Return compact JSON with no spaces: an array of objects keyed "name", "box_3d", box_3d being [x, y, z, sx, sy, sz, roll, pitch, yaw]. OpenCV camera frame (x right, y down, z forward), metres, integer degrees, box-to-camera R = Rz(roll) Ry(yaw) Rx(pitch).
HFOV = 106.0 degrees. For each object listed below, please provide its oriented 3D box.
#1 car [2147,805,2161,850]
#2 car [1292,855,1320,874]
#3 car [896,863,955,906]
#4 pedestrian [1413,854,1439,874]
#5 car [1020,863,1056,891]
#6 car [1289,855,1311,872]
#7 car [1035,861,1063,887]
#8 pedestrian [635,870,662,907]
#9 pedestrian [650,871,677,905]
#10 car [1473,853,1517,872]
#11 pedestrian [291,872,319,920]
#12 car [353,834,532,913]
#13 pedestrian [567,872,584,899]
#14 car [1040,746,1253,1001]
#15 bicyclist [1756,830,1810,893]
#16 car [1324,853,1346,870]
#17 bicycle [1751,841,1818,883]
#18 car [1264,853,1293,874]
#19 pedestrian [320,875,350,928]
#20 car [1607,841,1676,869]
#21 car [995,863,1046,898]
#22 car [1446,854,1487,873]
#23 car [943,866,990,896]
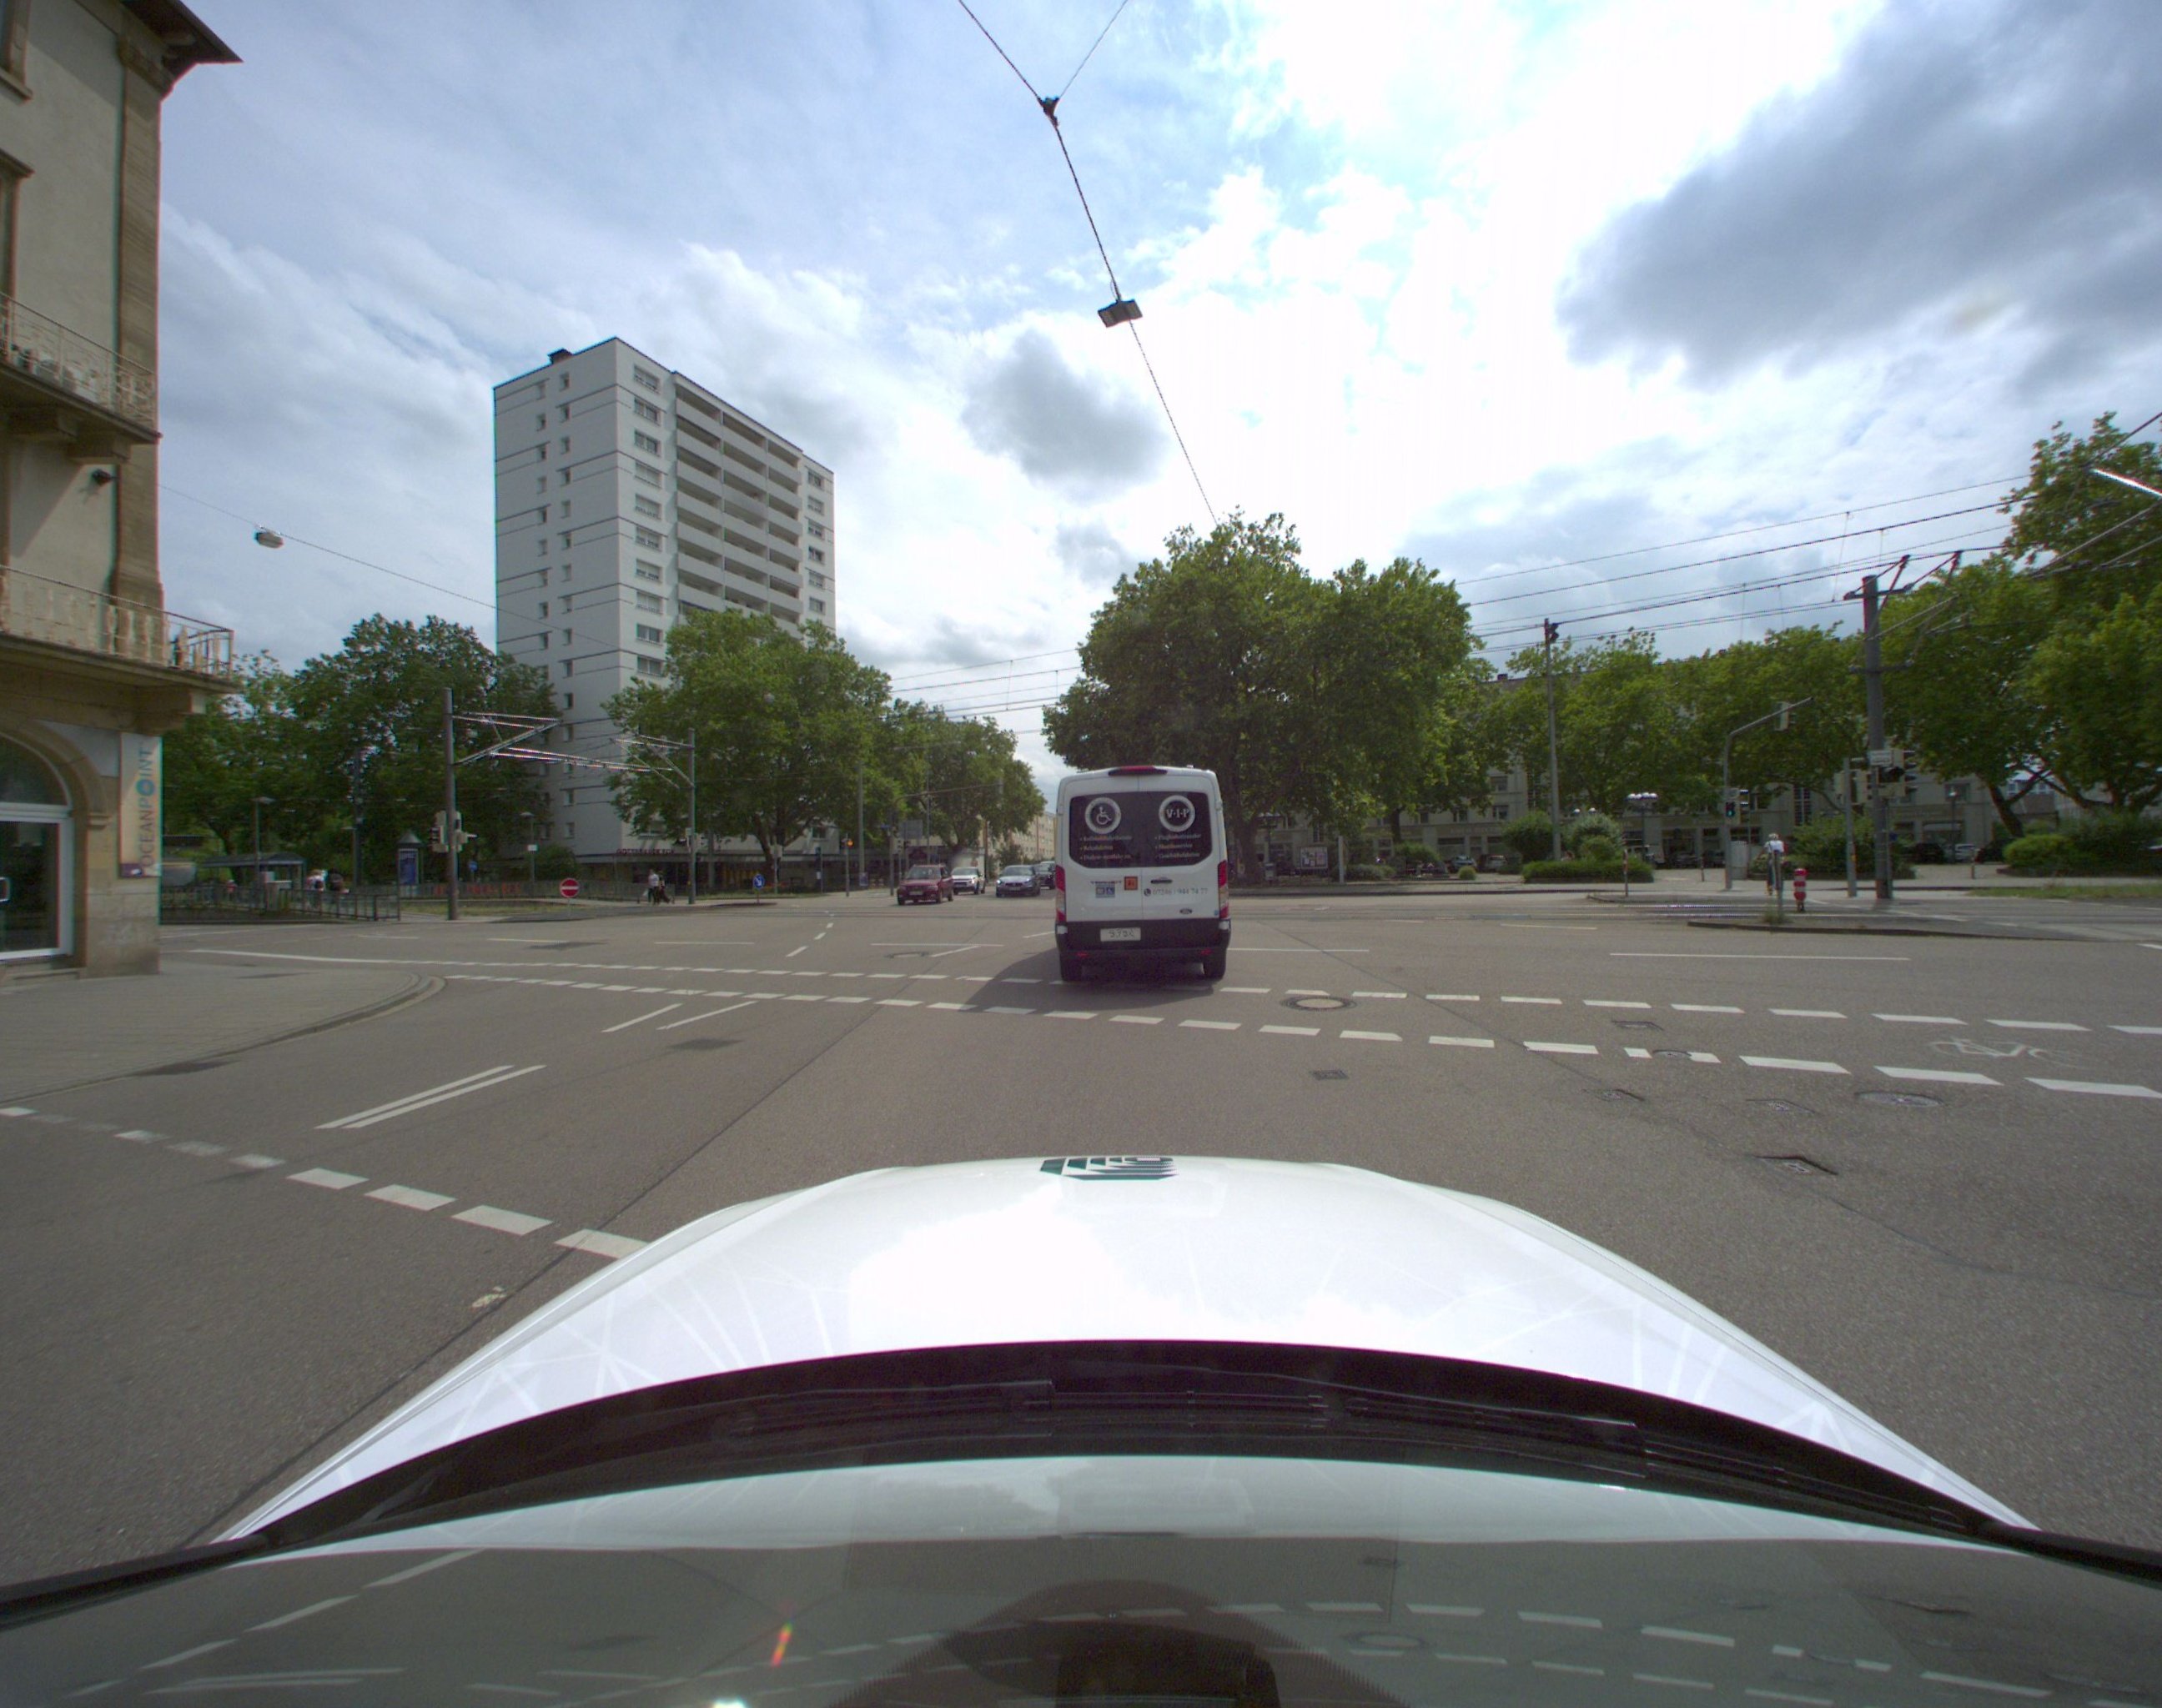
[{"name":"car","box_3d":[64.691,-1.643,45.686,5.272,2.585,2.512,-2,-2,22]},{"name":"car","box_3d":[21.182,0.988,76.694,1.796,1.684,4.005,-2,-1,5]},{"name":"car","box_3d":[-5.944,1.131,31.529,1.587,1.508,3.805,-2,-1,-1]},{"name":"pedestrian","box_3d":[22.454,0.667,53.036,1.086,1.236,1.442,-4,-2,4]},{"name":"car","box_3d":[-2.537,1.339,49.282,1.736,1.588,4.331,-2,-1,2]},{"name":"car","box_3d":[23.400,0.971,86.952,1.789,1.684,4.021,-2,-1,22]},{"name":"car","box_3d":[-2.469,1.558,64.193,1.736,1.930,4.856,-2,-1,2]},{"name":"pedestrian","box_3d":[-19.071,1.512,35.922,0.799,1.572,0.728,-2,-1,29]},{"name":"pedestrian","box_3d":[-19.315,1.576,37.680,0.719,1.514,0.932,-2,-1,0]},{"name":"car","box_3d":[35.735,0.754,70.384,1.984,1.519,4.005,-2,-1,5]},{"name":"pedestrian","box_3d":[-30.761,1.664,32.285,0.542,1.869,0.577,-2,-1,18]},{"name":"car","box_3d":[-34.745,1.118,44.224,9.794,3.915,3.475,-2,-1,25]},{"name":"pedestrian","box_3d":[-35.825,2.210,57.708,0.755,1.884,0.744,-2,-1,26]},{"name":"car","box_3d":[0.673,0.201,11.117,2.175,2.647,4.626,-3,0,-1]},{"name":"bicyclist","box_3d":[19.205,0.204,22.305,0.895,1.683,0.761,-2,-1,26]},{"name":"car","box_3d":[26.666,0.777,85.364,1.789,1.684,4.021,-2,-1,22]},{"name":"bicycle","box_3d":[19.205,0.207,22.291,0.894,1.075,1.982,-2,-1,27]},{"name":"car","box_3d":[18.704,0.882,77.292,1.984,1.931,4.005,-2,-1,5]},{"name":"pedestrian","box_3d":[-30.300,1.918,33.088,0.585,2.086,0.657,-2,-1,18]},{"name":"car","box_3d":[41.973,0.075,61.130,3.951,1.883,1.868,-2,-1,24]},{"name":"car","box_3d":[-2.727,1.179,37.464,1.825,1.427,4.123,-2,-1,2]},{"name":"car","box_3d":[33.500,0.831,70.874,1.984,1.503,4.005,-2,-1,5]},{"name":"car","box_3d":[-6.003,1.390,43.132,1.736,1.427,4.034,-2,-1,2]}]
